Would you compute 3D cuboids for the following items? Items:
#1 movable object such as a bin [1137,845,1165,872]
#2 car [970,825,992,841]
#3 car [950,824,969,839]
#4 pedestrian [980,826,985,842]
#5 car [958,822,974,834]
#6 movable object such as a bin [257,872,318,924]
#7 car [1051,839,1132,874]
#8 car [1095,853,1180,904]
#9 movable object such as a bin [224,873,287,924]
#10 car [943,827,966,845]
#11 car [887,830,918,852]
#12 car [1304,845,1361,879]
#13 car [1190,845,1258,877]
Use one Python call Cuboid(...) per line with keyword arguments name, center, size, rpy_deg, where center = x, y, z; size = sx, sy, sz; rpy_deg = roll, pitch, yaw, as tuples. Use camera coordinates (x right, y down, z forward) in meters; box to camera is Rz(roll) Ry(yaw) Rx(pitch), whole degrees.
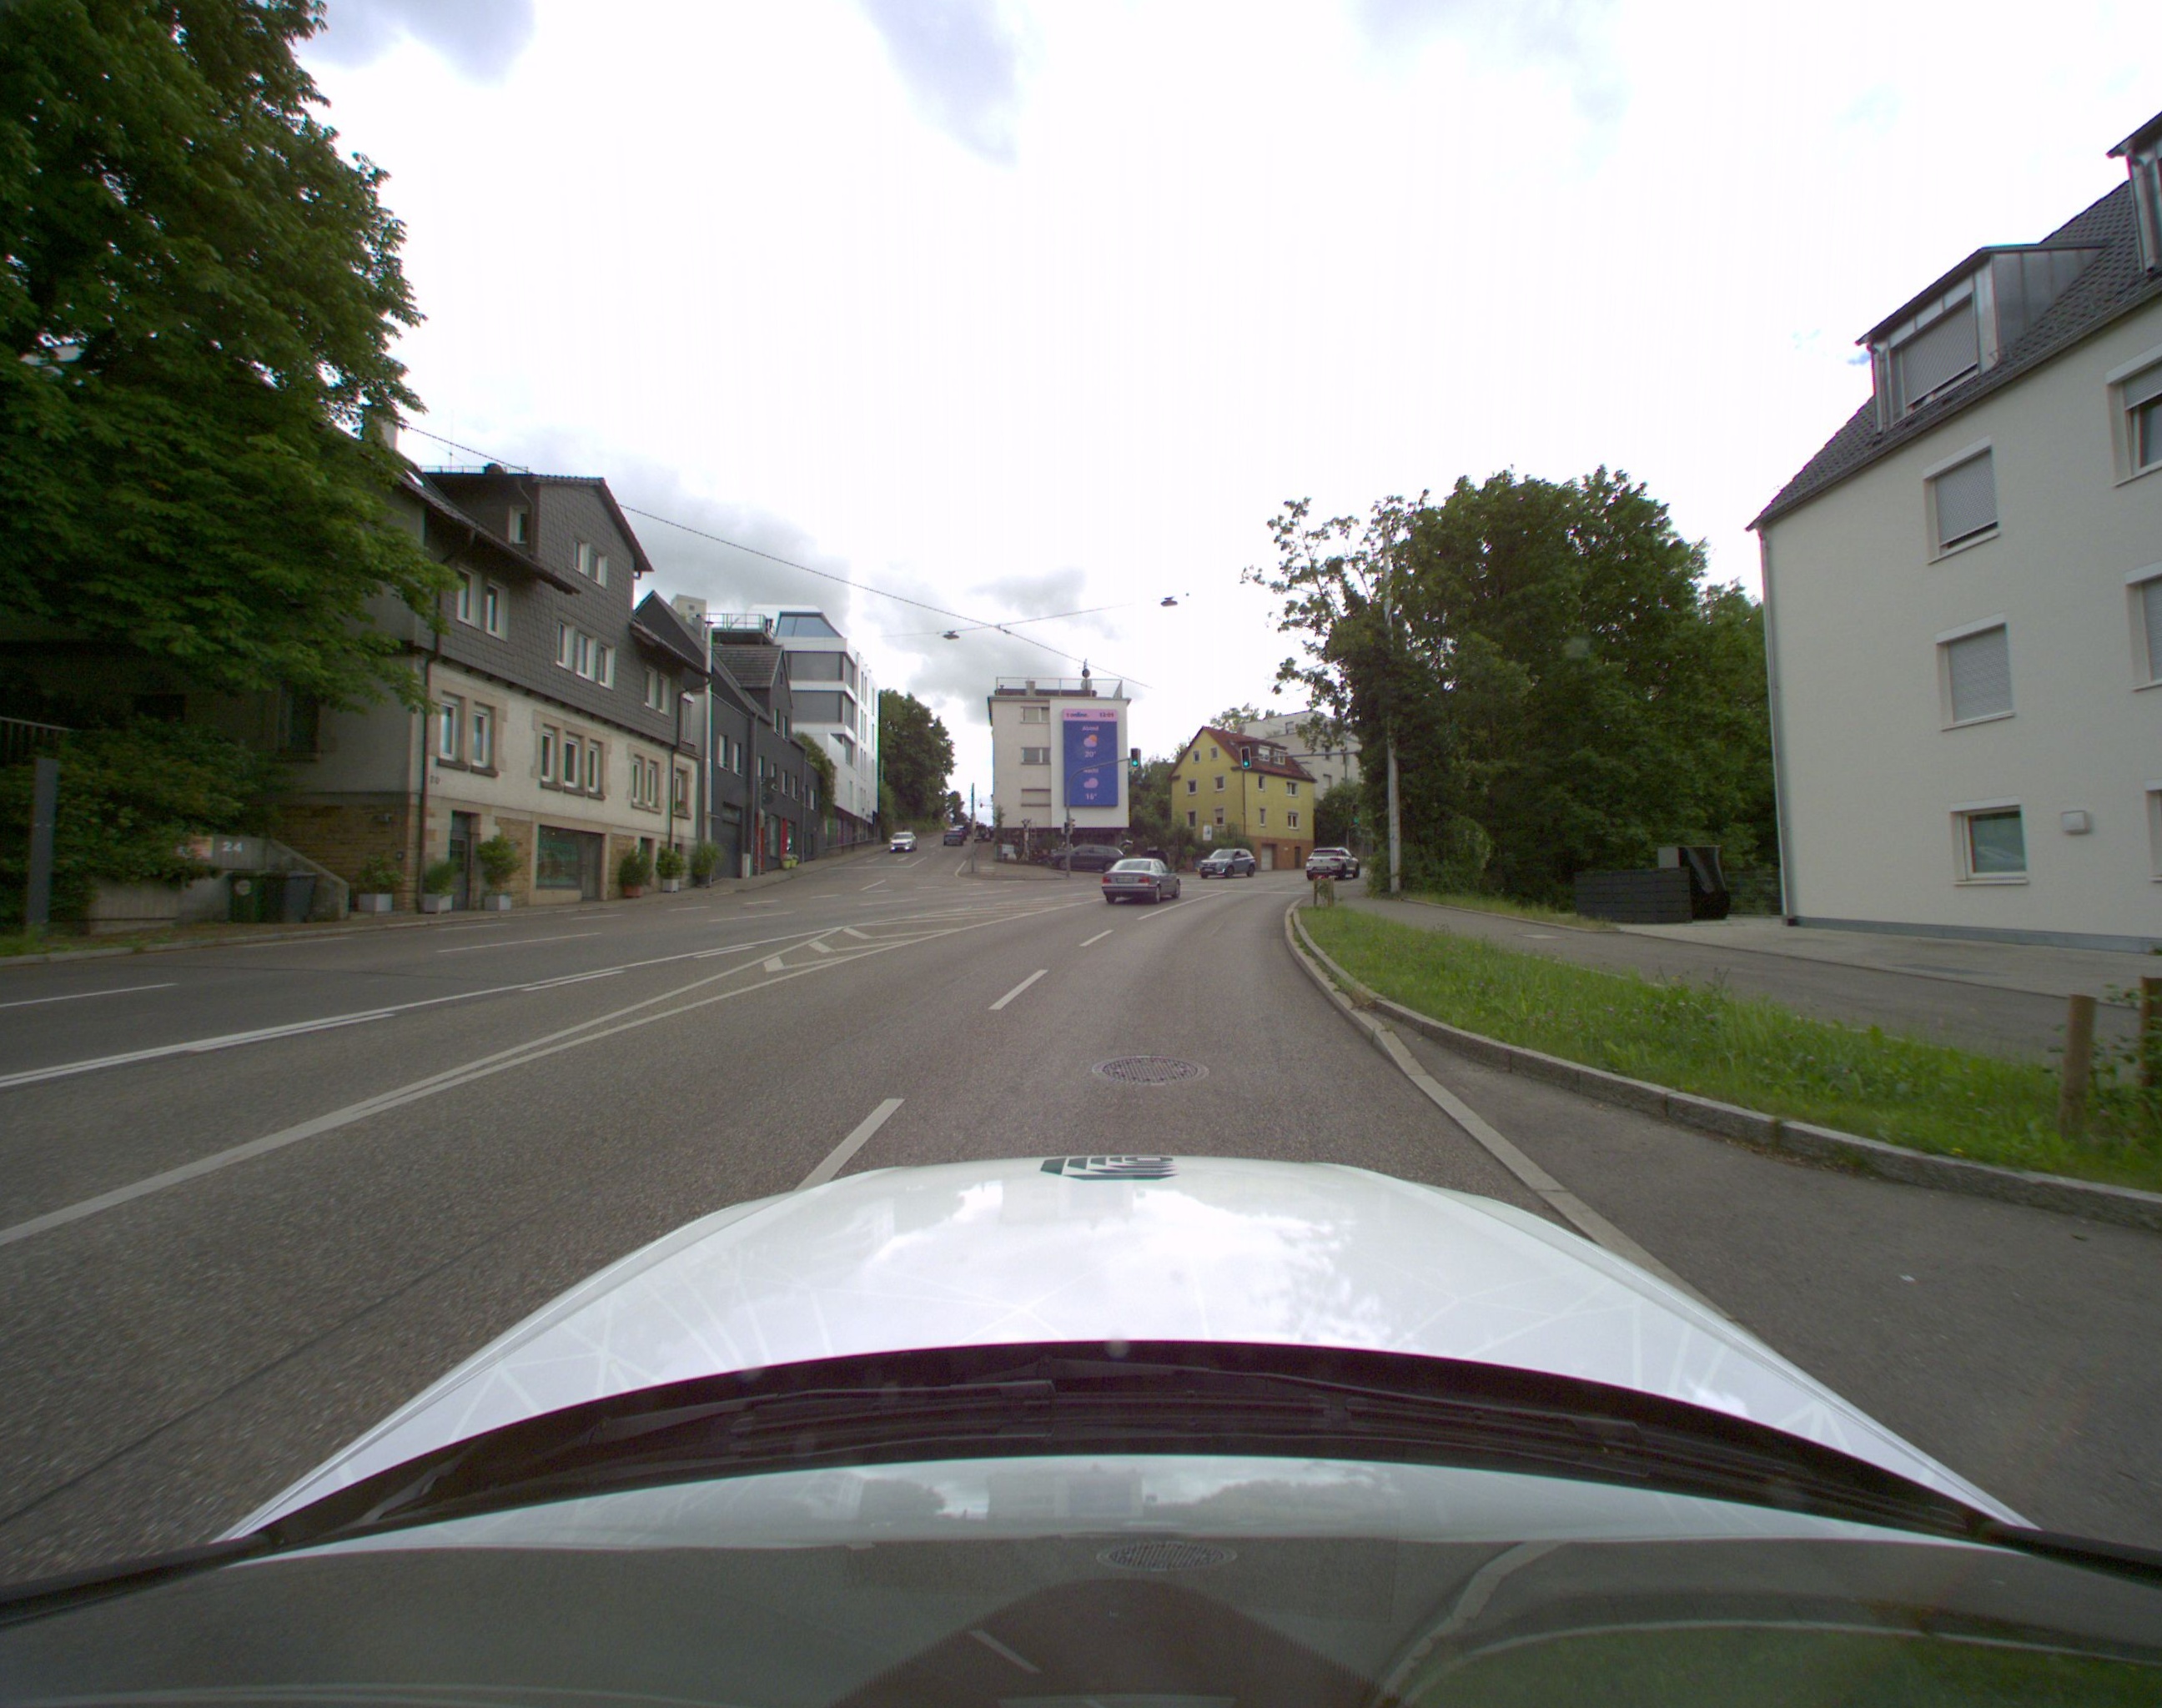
Cuboid(name="movable object such as a bin", center=(4.733, 0.277, 55.156), size=(1.752, 1.779, 1.859), rpy_deg=(0, 0, 8))
Cuboid(name="car", center=(-10.345, -2.128, 84.729), size=(2.085, 1.613, 3.995), rpy_deg=(0, 0, -4))
Cuboid(name="car", center=(-13.219, -2.436, 88.795), size=(1.777, 1.578, 3.994), rpy_deg=(1, 2, -5))
Cuboid(name="pedestrian", center=(-10.007, -2.027, 82.379), size=(0.457, 1.529, 0.526), rpy_deg=(0, -1, -4))
Cuboid(name="car", center=(-15.063, -3.352, 106.633), size=(1.791, 1.465, 3.993), rpy_deg=(1, 0, -5))
Cuboid(name="movable object such as a bin", center=(-15.922, 0.884, 16.349), size=(0.534, 1.019, 0.649), rpy_deg=(0, -2, 12))
Cuboid(name="car", center=(0.596, 0.137, 49.754), size=(4.681, 1.712, 2.315), rpy_deg=(4, 3, -5))
Cuboid(name="car", center=(1.894, 0.722, 25.998), size=(1.692, 1.464, 4.020), rpy_deg=(1, 1, 19))
Cuboid(name="movable object such as a bin", center=(-16.676, 0.891, 16.452), size=(0.574, 1.019, 0.649), rpy_deg=(0, -2, 12))
Cuboid(name="car", center=(-11.869, -1.743, 76.502), size=(1.777, 1.578, 3.994), rpy_deg=(1, 2, -5))
Cuboid(name="car", center=(-14.164, -1.050, 64.874), size=(1.880, 1.567, 4.382), rpy_deg=(-1, 3, -5))
Cuboid(name="car", center=(12.480, 0.378, 40.325), size=(1.763, 1.579, 4.025), rpy_deg=(0, 0, 31))
Cuboid(name="car", center=(8.022, 0.386, 45.371), size=(1.877, 1.695, 4.375), rpy_deg=(-1, 0, 38))
